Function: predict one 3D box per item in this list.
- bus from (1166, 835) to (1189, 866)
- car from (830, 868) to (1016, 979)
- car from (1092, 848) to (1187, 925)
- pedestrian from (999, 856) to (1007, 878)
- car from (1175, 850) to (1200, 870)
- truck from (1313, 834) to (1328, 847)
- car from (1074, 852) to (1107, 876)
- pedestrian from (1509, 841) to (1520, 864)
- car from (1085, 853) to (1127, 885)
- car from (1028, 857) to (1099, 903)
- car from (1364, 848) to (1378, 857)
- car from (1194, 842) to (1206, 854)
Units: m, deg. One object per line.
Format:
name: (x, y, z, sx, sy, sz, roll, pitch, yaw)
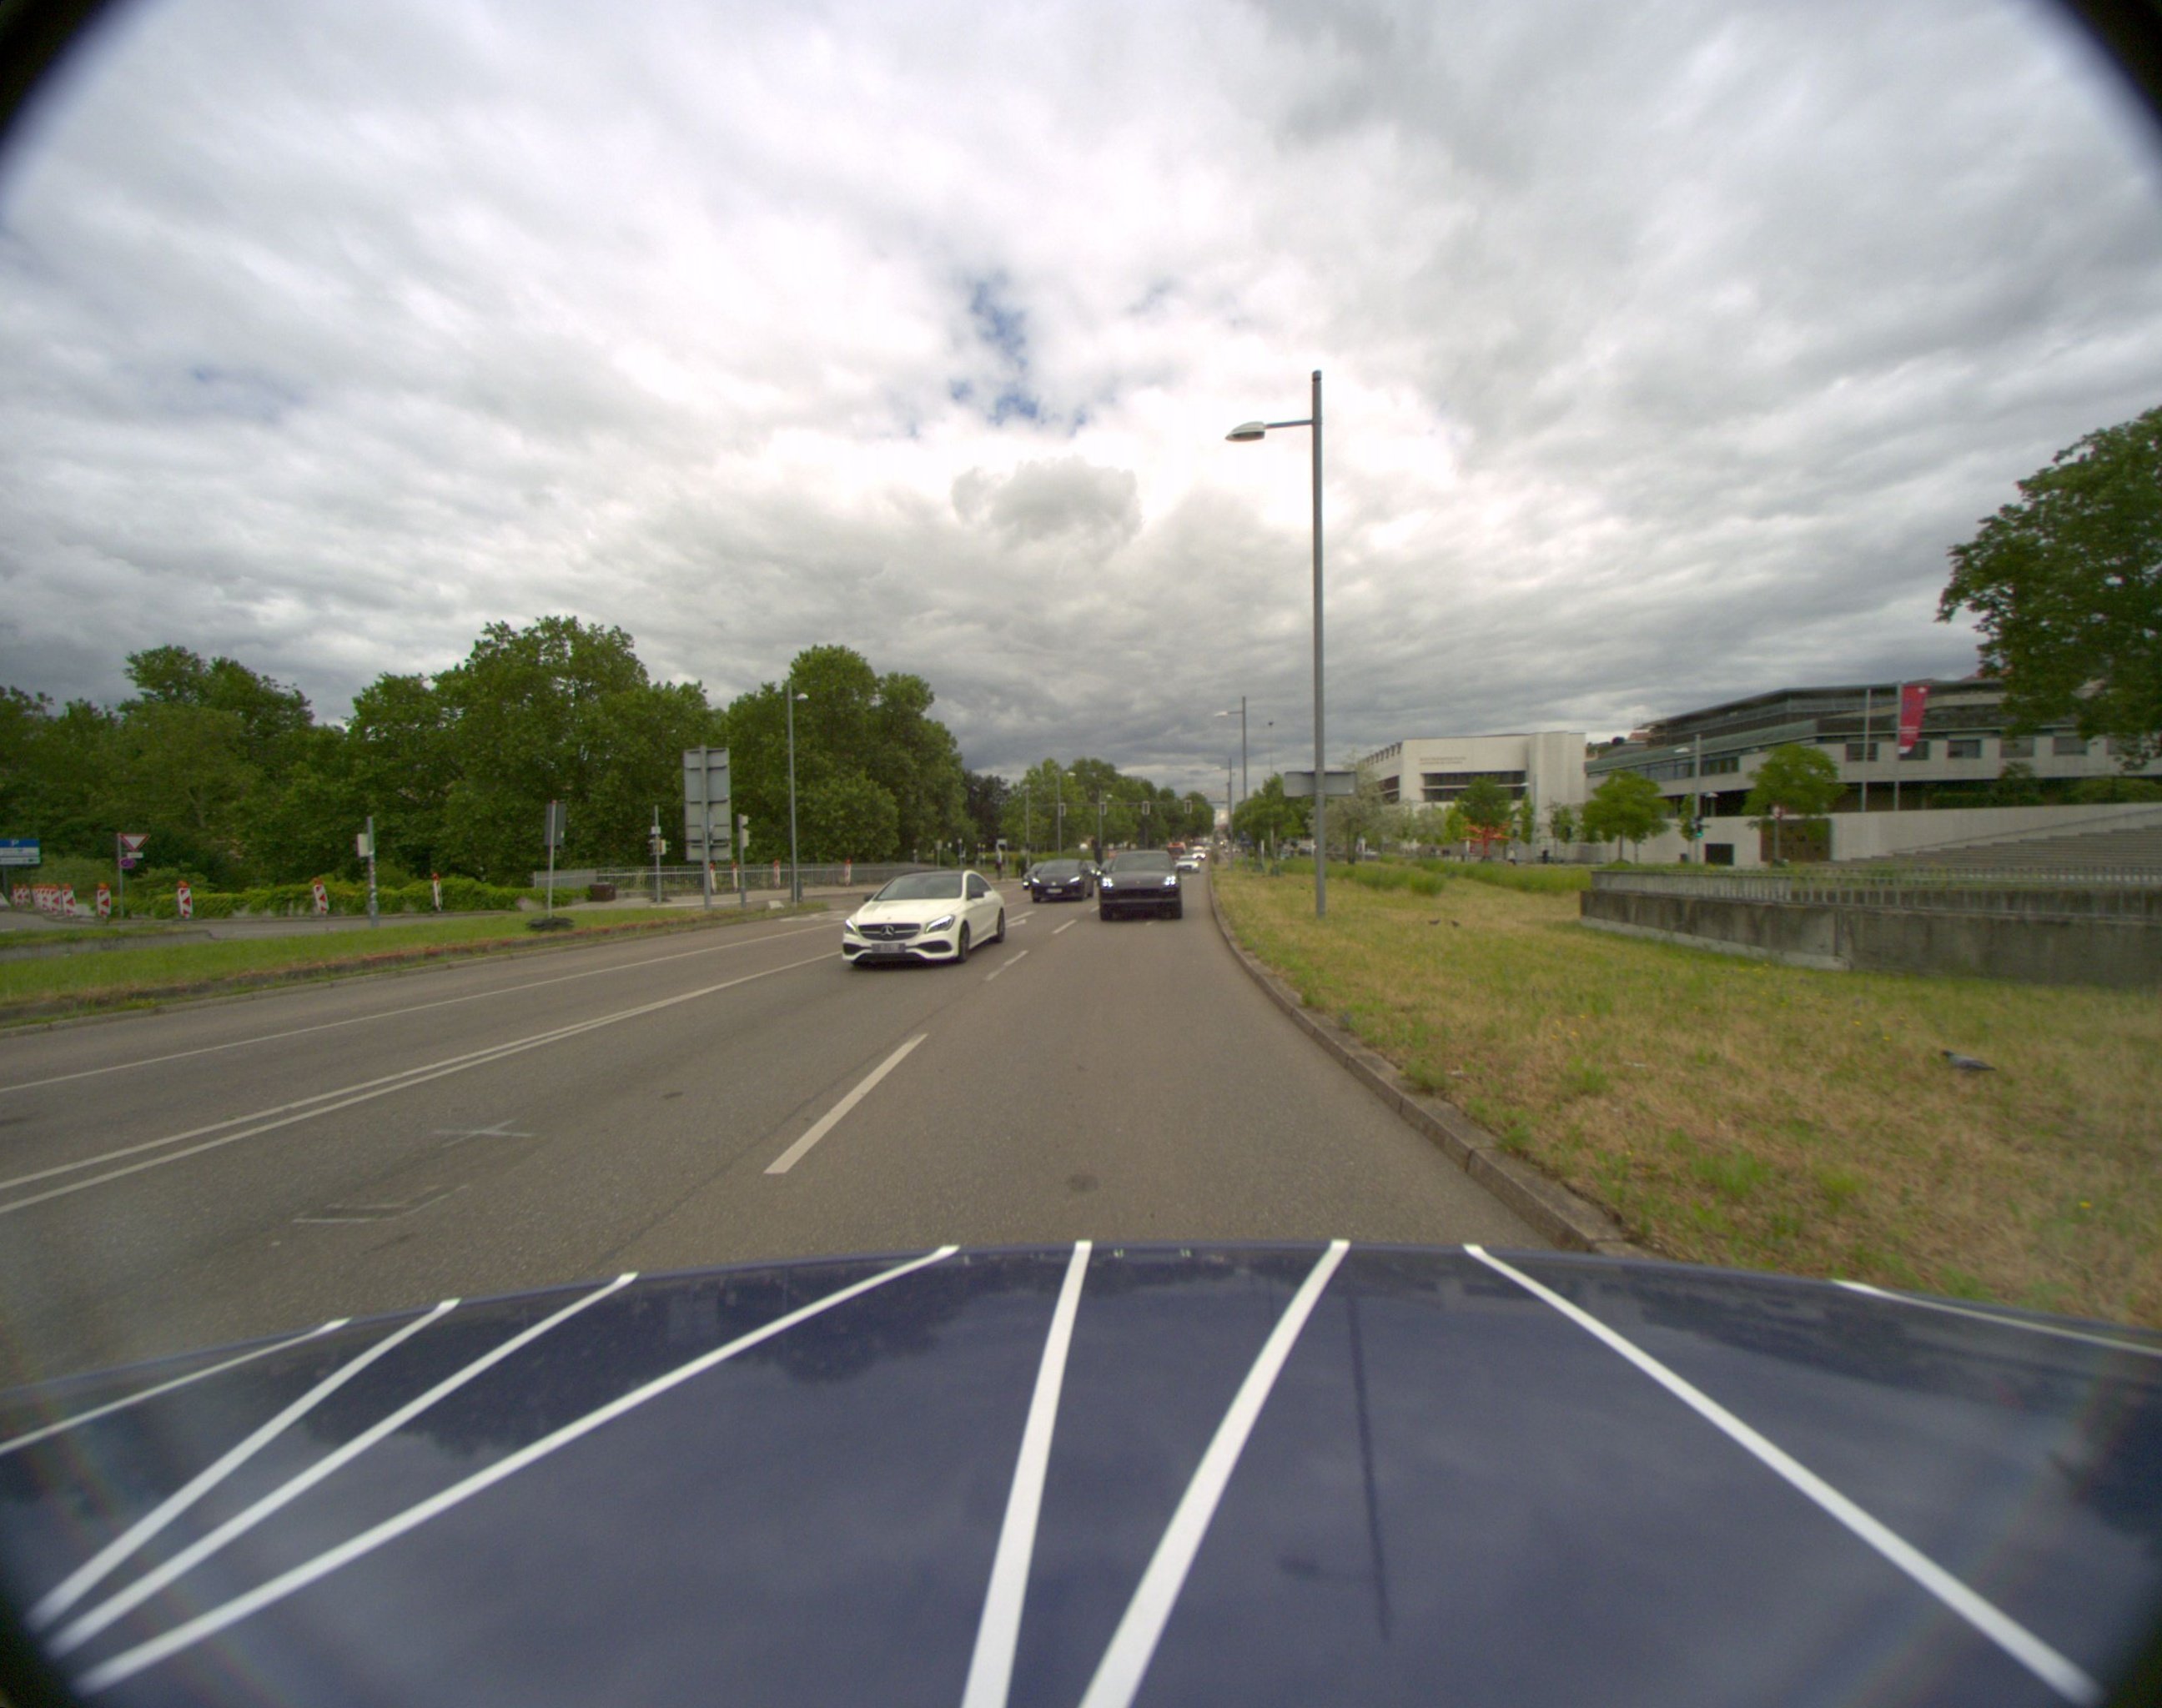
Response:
bus: (14.628, -0.576, 114.463, 3.041, 4.327, 8.755, -2, 1, 9)
car: (-2.438, 1.032, 12.985, 1.722, 1.415, 4.508, -2, 1, 7)
car: (1.645, 0.747, 19.614, 1.936, 1.668, 4.683, -3, 0, 10)
pedestrian: (-6.321, 1.018, 61.345, 0.479, 1.753, 0.620, -2, 1, 7)
car: (8.887, 0.512, 63.530, 1.761, 1.538, 4.001, -2, 1, 4)
truck: (54.437, -3.006, 172.836, 2.468, 2.800, 7.084, -1, 0, 11)
car: (0.719, 0.687, 54.123, 1.722, 1.528, 4.004, -2, 1, 10)
pedestrian: (33.143, -0.128, 58.083, 0.541, 1.723, 0.664, -2, 0, 10)
car: (1.368, 0.815, 40.439, 1.572, 1.527, 4.006, -2, -2, 11)
car: (-0.552, 0.898, 27.924, 1.828, 1.515, 4.123, -2, 0, 10)
car: (52.800, -0.195, 138.401, 1.722, 1.565, 4.616, -1, 0, 11)
car: (22.010, -1.132, 140.474, 1.997, 2.216, 4.003, -2, 0, 12)
